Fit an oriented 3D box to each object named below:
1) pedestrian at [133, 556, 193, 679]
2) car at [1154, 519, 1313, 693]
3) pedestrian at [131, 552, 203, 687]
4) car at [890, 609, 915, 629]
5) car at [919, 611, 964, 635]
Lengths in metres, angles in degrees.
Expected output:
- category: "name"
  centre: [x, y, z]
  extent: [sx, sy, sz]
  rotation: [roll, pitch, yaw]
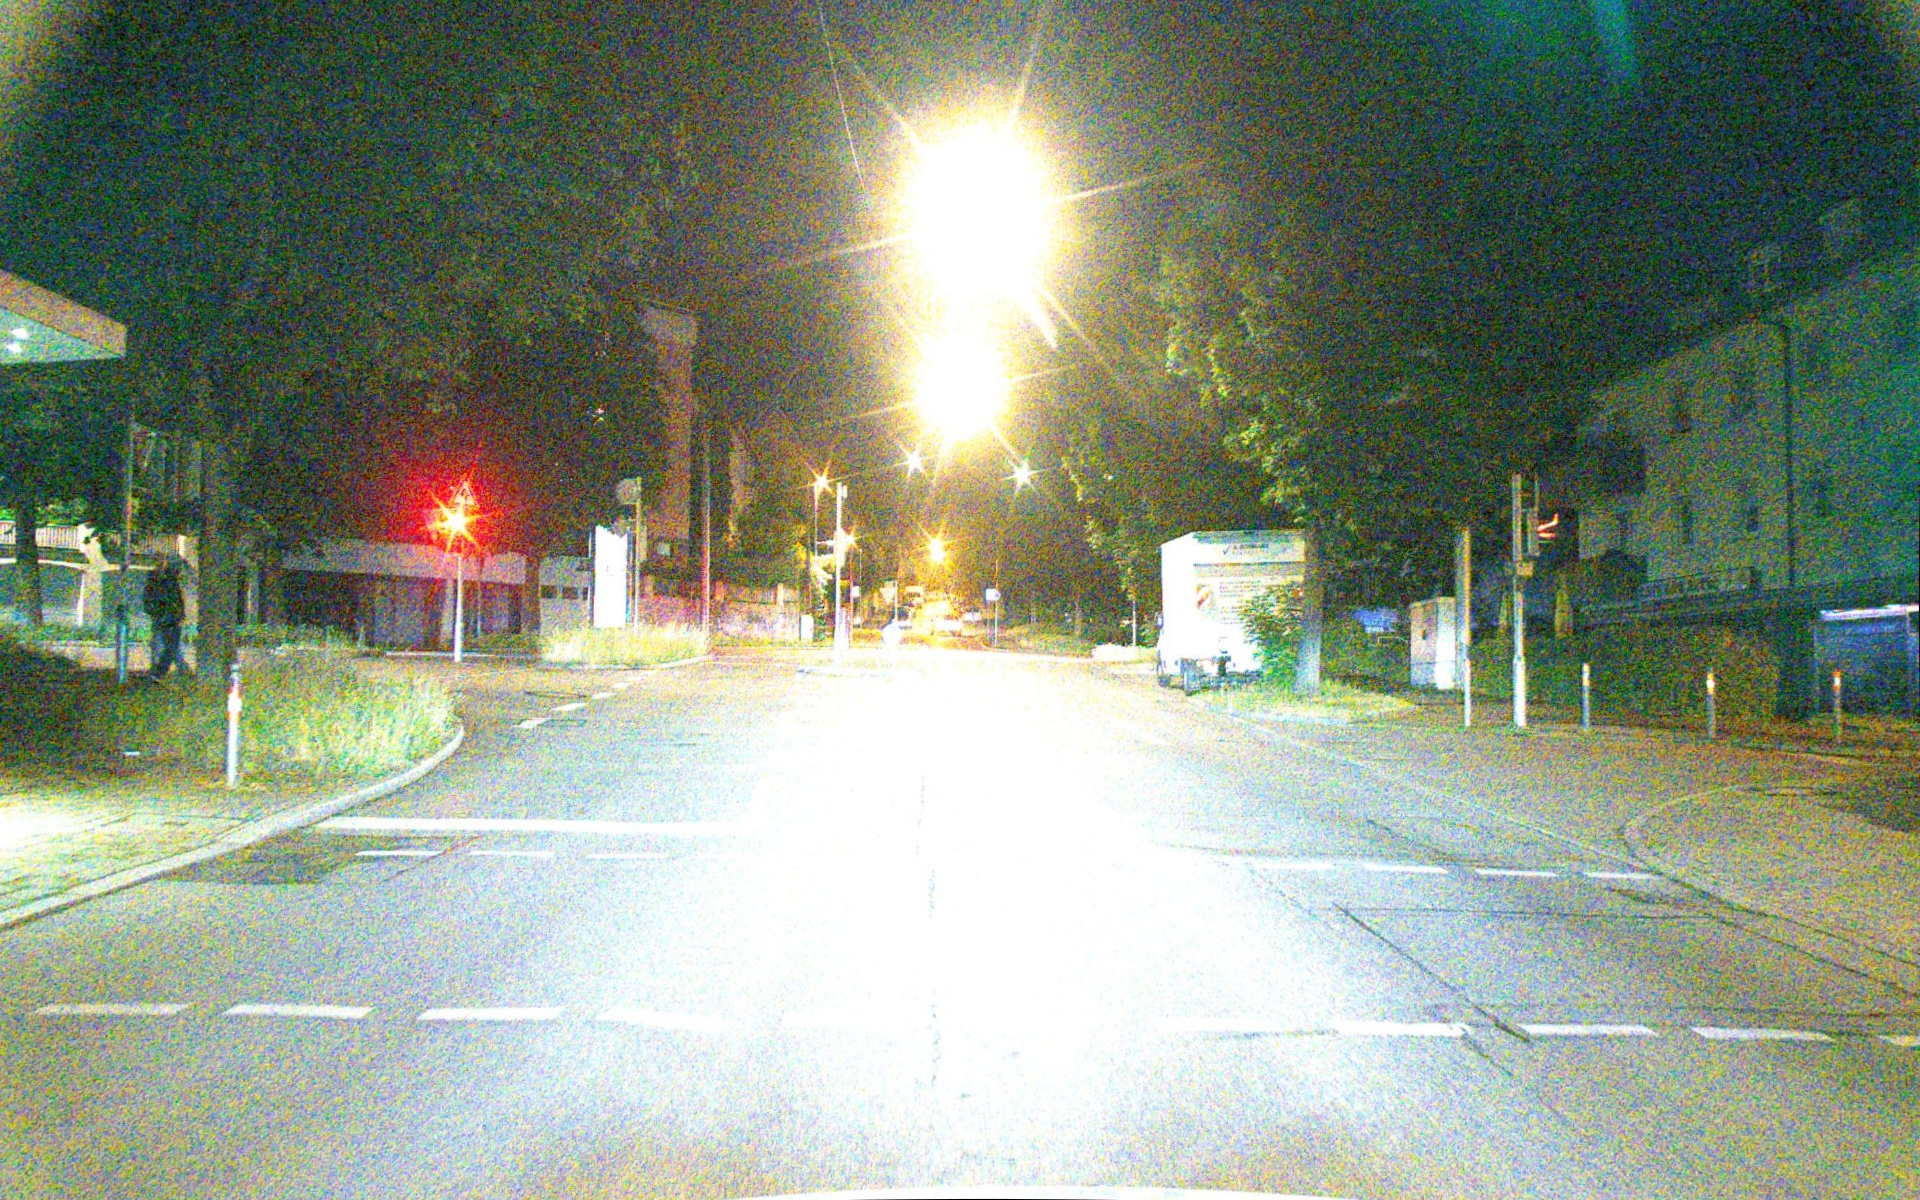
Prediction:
- category: "pedestrian"
  centre: [-11.590, 0.250, 24.057]
  extent: [0.558, 1.761, 0.543]
  rotation: [1, -1, -1]
- category: "car"
  centre: [5.328, 0.139, 33.080]
  extent: [2.249, 3.147, 5.840]
  rotation: [-1, -1, 1]
- category: "pedestrian"
  centre: [-11.025, 0.271, 23.010]
  extent: [0.558, 1.808, 0.737]
  rotation: [3, -1, -1]
- category: "car"
  centre: [-4.595, 1.533, 132.886]
  extent: [1.869, 1.585, 3.903]
  rotation: [1, -1, -1]
- category: "car"
  centre: [-1.240, 1.505, 108.471]
  extent: [1.749, 1.512, 3.978]
  rotation: [1, -1, -19]
